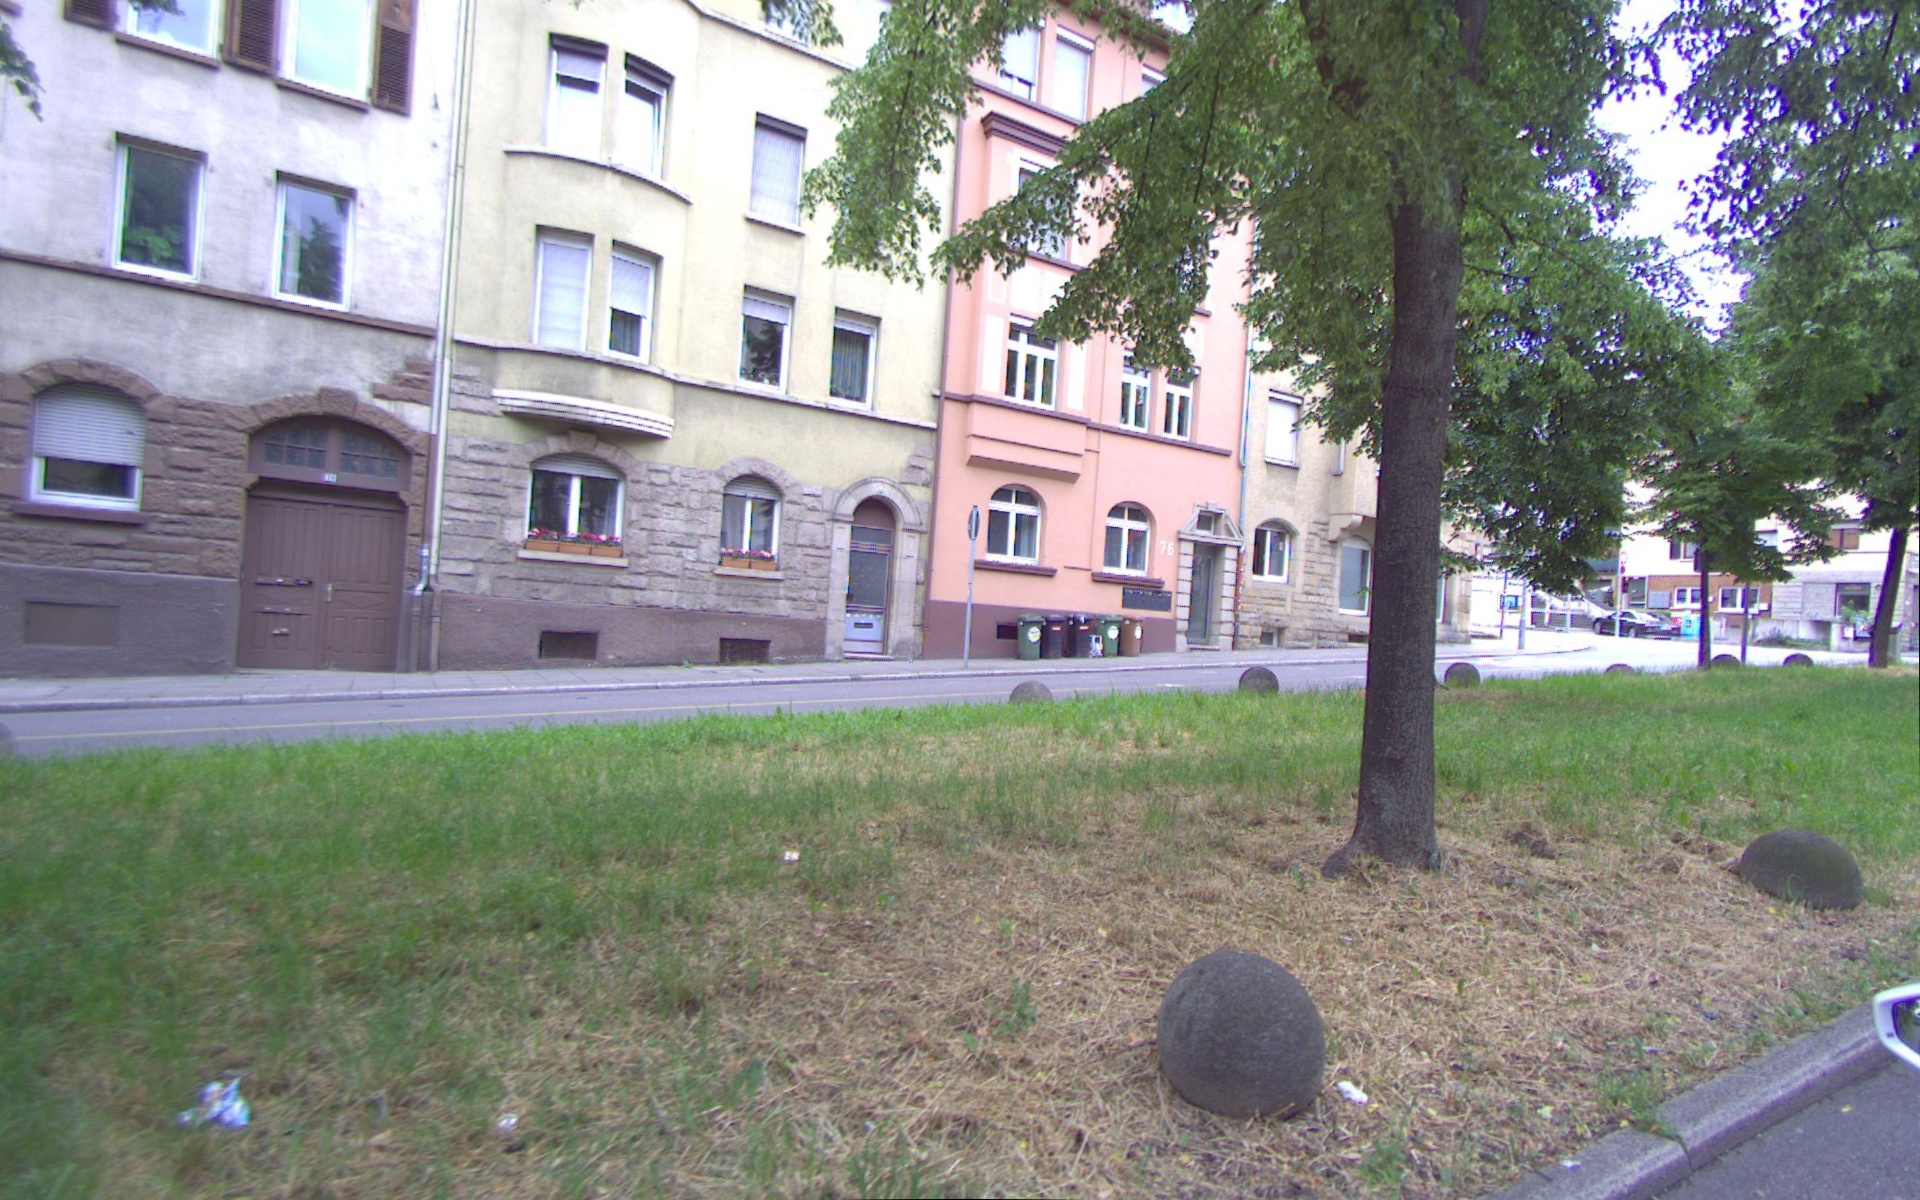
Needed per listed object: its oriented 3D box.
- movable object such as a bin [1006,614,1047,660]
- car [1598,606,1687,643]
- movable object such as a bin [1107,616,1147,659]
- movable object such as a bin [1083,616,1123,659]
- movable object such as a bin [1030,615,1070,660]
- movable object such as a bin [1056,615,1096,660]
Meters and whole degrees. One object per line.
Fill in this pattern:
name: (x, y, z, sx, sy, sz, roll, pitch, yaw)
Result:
movable object such as a bin: (1.387, 0.770, 21.119, 0.595, 0.916, 0.605, 1, 2, -34)
car: (33.944, 1.204, 50.098, 1.845, 1.687, 4.001, 2, -1, 3)
movable object such as a bin: (3.752, 0.843, 22.570, 0.595, 0.916, 0.605, 1, 2, -34)
movable object such as a bin: (3.165, 0.826, 22.228, 0.595, 0.916, 0.605, 1, 2, -34)
movable object such as a bin: (1.923, 0.793, 21.446, 0.595, 0.916, 0.605, 1, 2, -34)
movable object such as a bin: (2.523, 0.808, 21.821, 0.595, 0.916, 0.605, 1, 2, -34)
